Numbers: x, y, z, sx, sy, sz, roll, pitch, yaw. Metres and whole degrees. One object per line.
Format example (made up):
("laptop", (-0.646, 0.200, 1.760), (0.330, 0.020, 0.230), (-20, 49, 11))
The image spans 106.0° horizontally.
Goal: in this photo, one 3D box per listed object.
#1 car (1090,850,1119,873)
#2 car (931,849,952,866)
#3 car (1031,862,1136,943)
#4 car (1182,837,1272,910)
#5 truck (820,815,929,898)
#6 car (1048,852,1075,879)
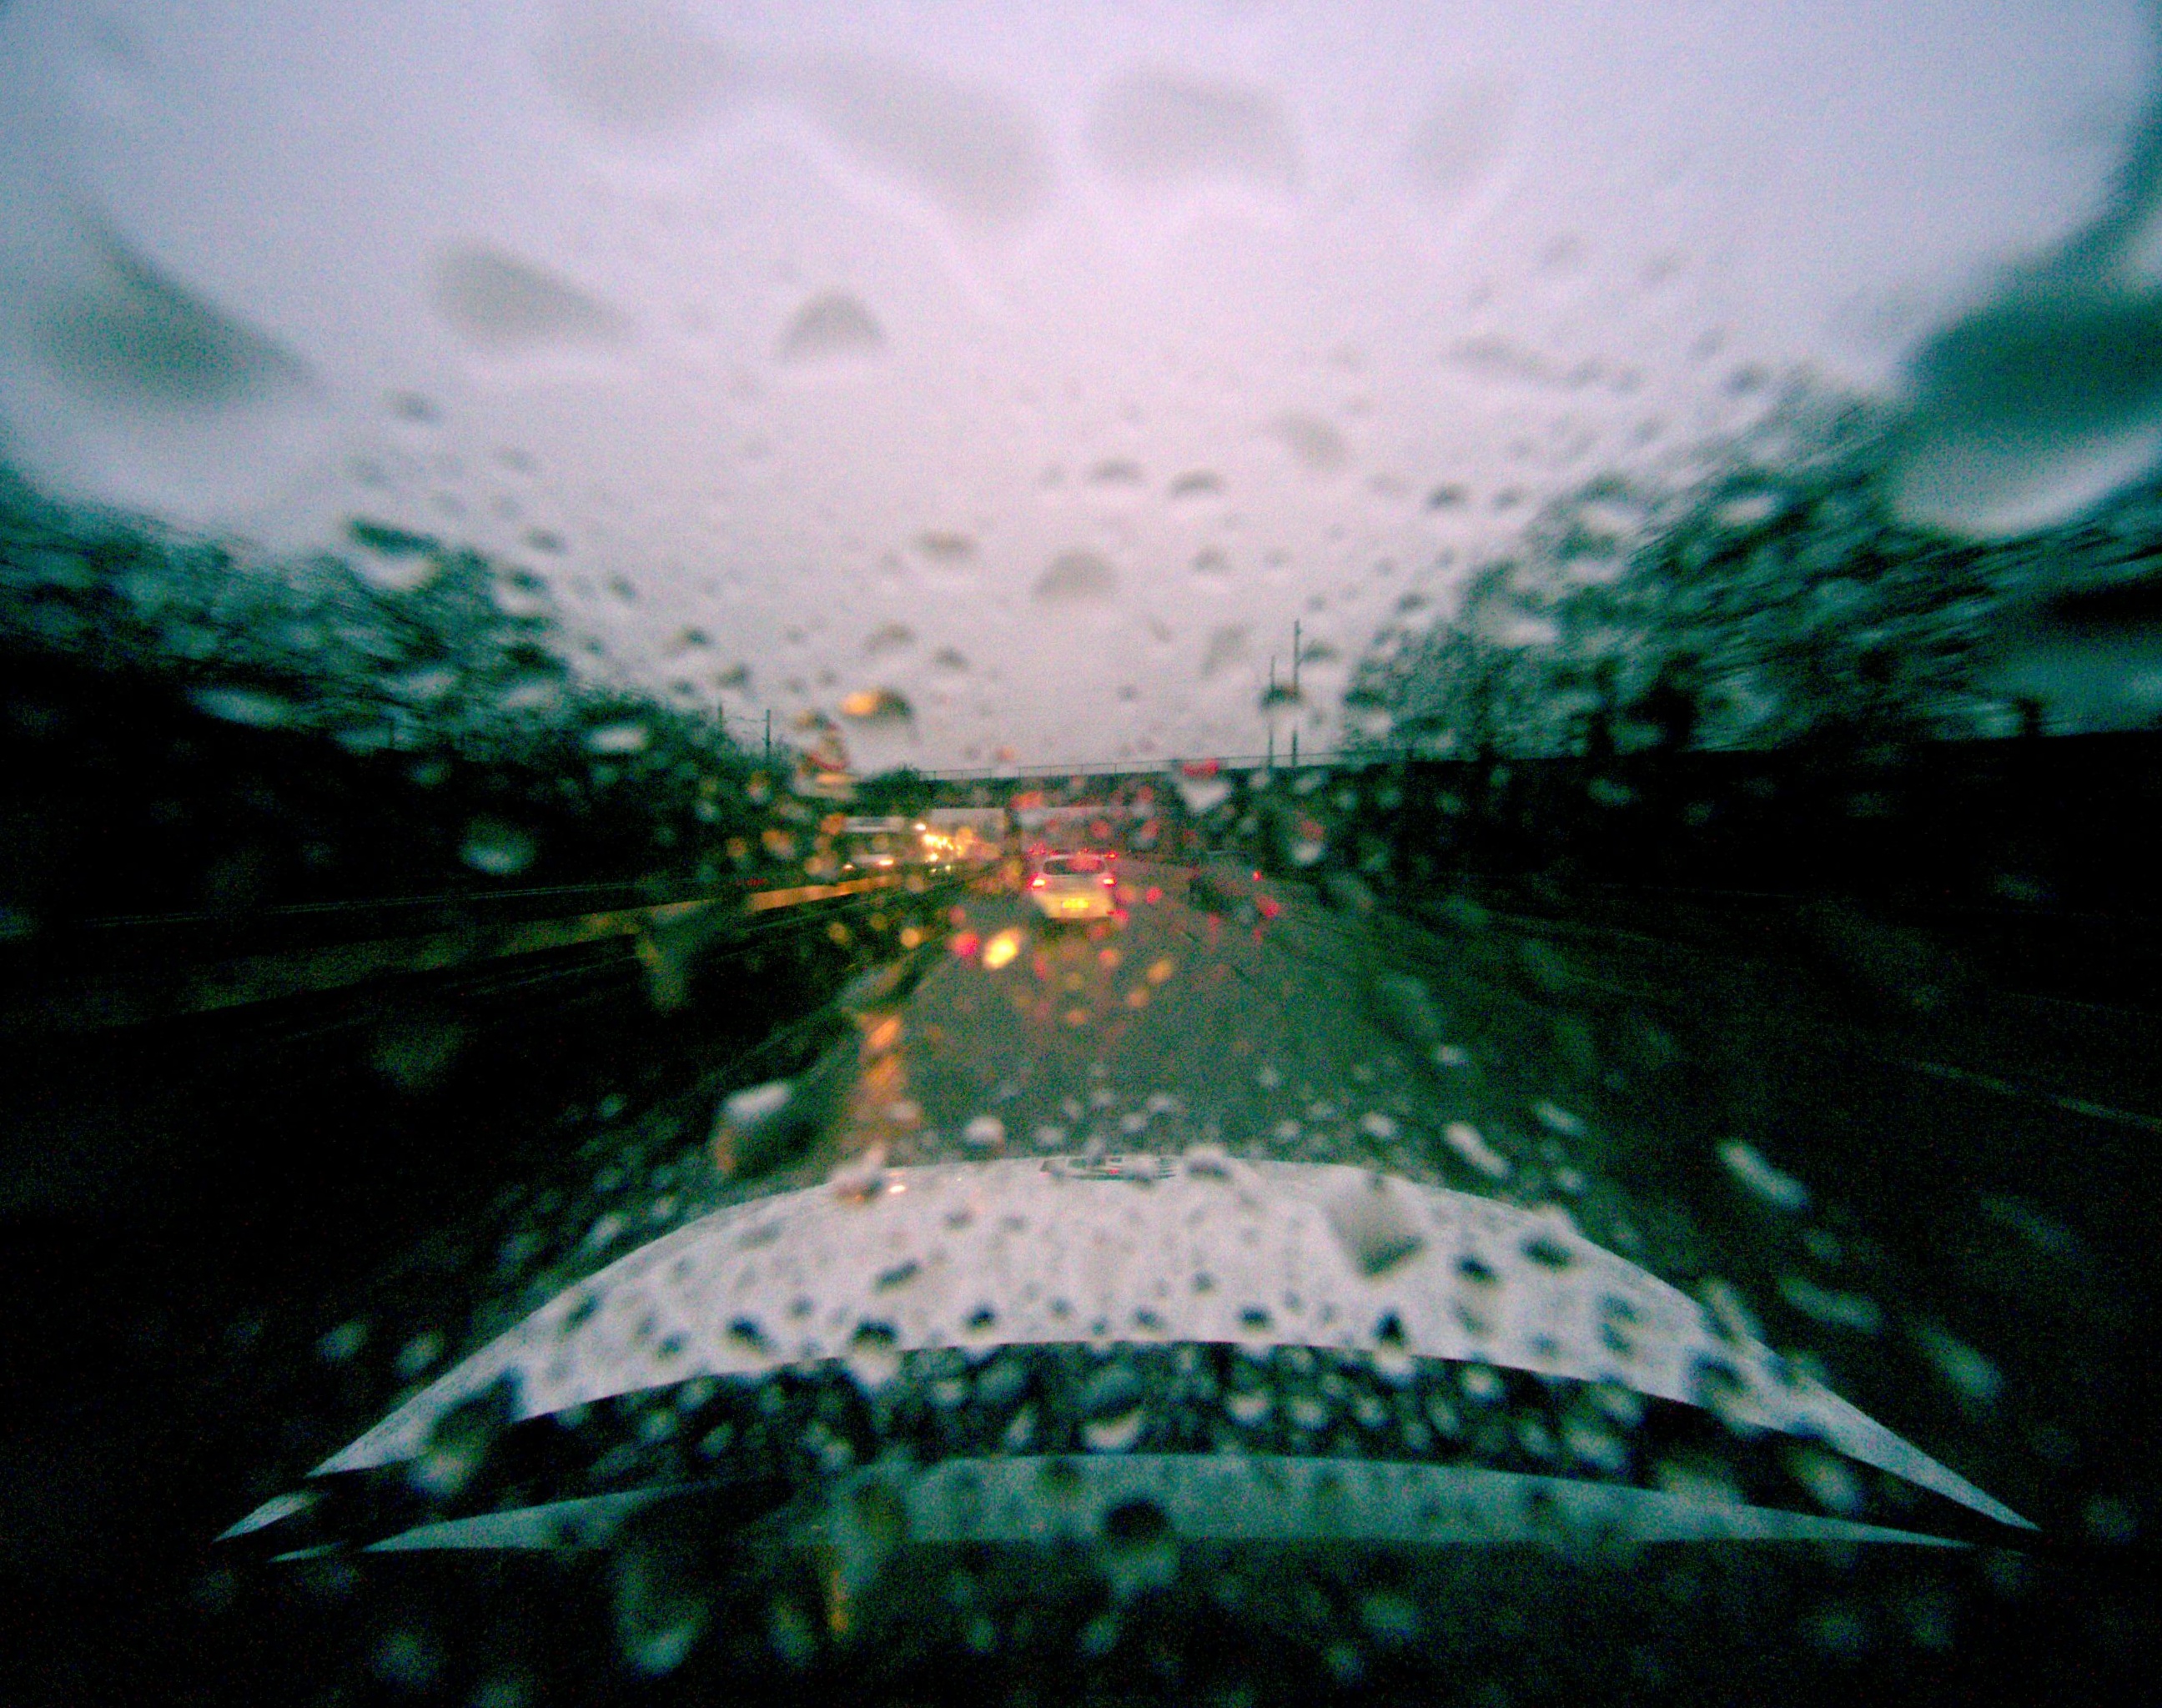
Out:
("car", (1.930, 0.660, 66.827), (1.929, 1.546, 3.768), (-5, -2, -4))
("car", (-14.641, 0.359, 85.699), (1.578, 1.670, 4.292), (-1, 0, -2))
("car", (0.063, 0.974, 17.860), (2.018, 1.575, 3.999), (0, -1, 0))
("car", (4.255, 0.564, 24.301), (1.927, 2.019, 3.770), (0, -1, -2))
("truck", (-8.621, 0.150, 35.019), (2.706, 3.161, 7.726), (0, -1, -1))
("car", (-1.554, 0.903, 63.736), (1.989, 2.014, 3.995), (0, -1, -3))
